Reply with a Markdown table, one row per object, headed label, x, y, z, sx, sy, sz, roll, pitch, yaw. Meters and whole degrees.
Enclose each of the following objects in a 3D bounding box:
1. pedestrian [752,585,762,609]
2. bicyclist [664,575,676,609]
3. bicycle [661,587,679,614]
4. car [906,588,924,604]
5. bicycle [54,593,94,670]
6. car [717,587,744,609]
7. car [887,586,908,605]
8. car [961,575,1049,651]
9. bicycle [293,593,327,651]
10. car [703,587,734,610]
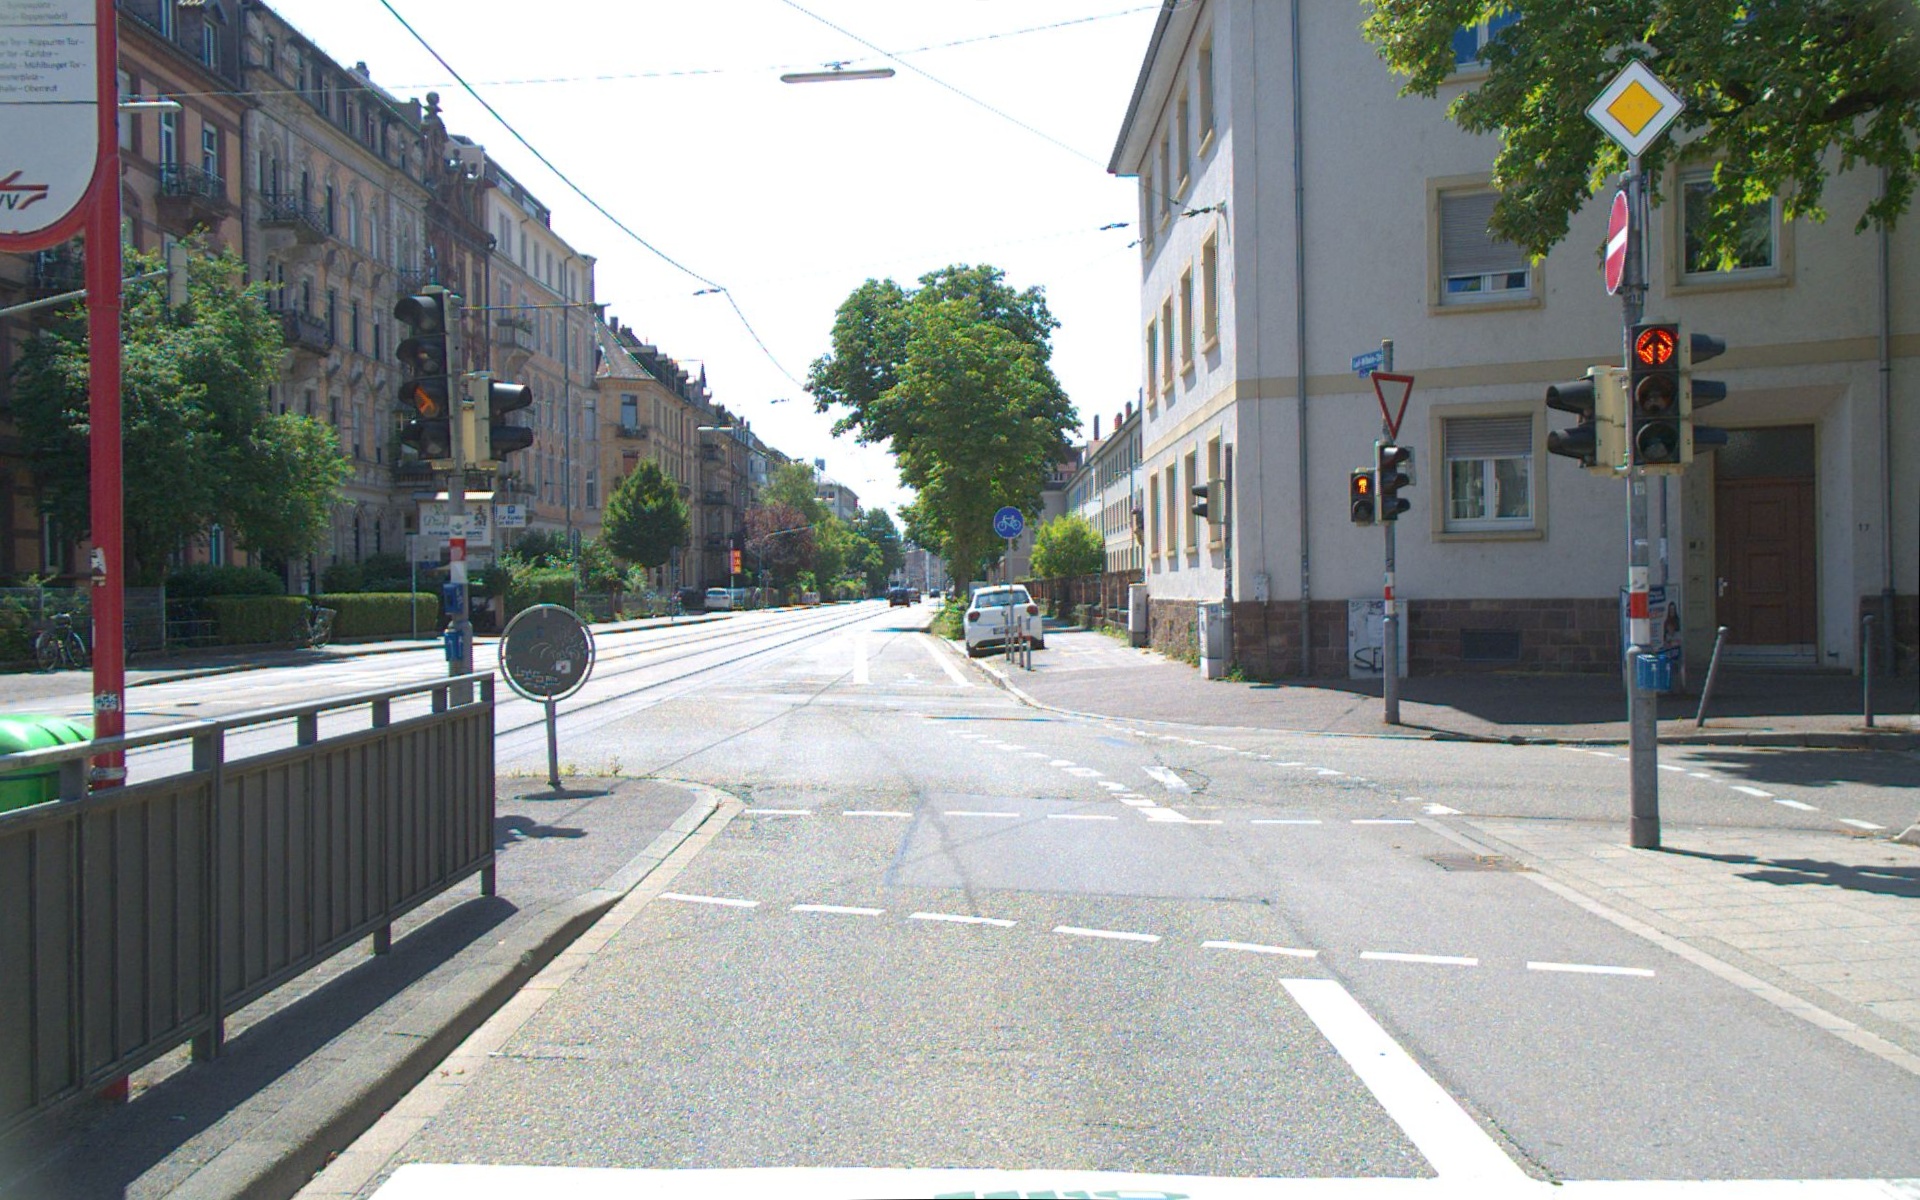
| label | x | y | z | sx | sy | sz | roll | pitch | yaw |
| --- | --- | --- | --- | --- | --- | --- | --- | --- | --- |
| pedestrian | -14.747 | -0.232 | 120.000 | 0.664 | 1.758 | 0.677 | 0 | 0 | -1 |
| bicyclist | -15.381 | -0.409 | 87.703 | 0.531 | 1.794 | 0.498 | 0 | 0 | -1 |
| bicycle | -15.383 | 0.010 | 87.789 | 0.565 | 1.412 | 2.500 | 0 | 0 | -1 |
| car | -4.540 | -0.433 | 168.485 | 1.712 | 1.498 | 3.937 | -4 | 0 | -1 |
| bicycle | -16.928 | 0.583 | 31.622 | 0.607 | 1.420 | 2.288 | 0 | 0 | -27 |
| car | -17.179 | -0.116 | 123.726 | 1.596 | 1.498 | 3.562 | -4 | 0 | -3 |
| car | -5.029 | -0.334 | 132.837 | 1.494 | 1.469 | 3.364 | -2 | 0 | 0 |
| car | 0.957 | 0.270 | 37.129 | 1.712 | 1.498 | 3.937 | -4 | 0 | -1 |
| bicycle | -15.948 | 0.532 | 40.558 | 0.584 | 1.380 | 2.419 | 0 | 0 | -27 |
| car | -16.819 | -0.116 | 115.382 | 1.651 | 1.498 | 3.936 | -4 | 0 | -3 |
